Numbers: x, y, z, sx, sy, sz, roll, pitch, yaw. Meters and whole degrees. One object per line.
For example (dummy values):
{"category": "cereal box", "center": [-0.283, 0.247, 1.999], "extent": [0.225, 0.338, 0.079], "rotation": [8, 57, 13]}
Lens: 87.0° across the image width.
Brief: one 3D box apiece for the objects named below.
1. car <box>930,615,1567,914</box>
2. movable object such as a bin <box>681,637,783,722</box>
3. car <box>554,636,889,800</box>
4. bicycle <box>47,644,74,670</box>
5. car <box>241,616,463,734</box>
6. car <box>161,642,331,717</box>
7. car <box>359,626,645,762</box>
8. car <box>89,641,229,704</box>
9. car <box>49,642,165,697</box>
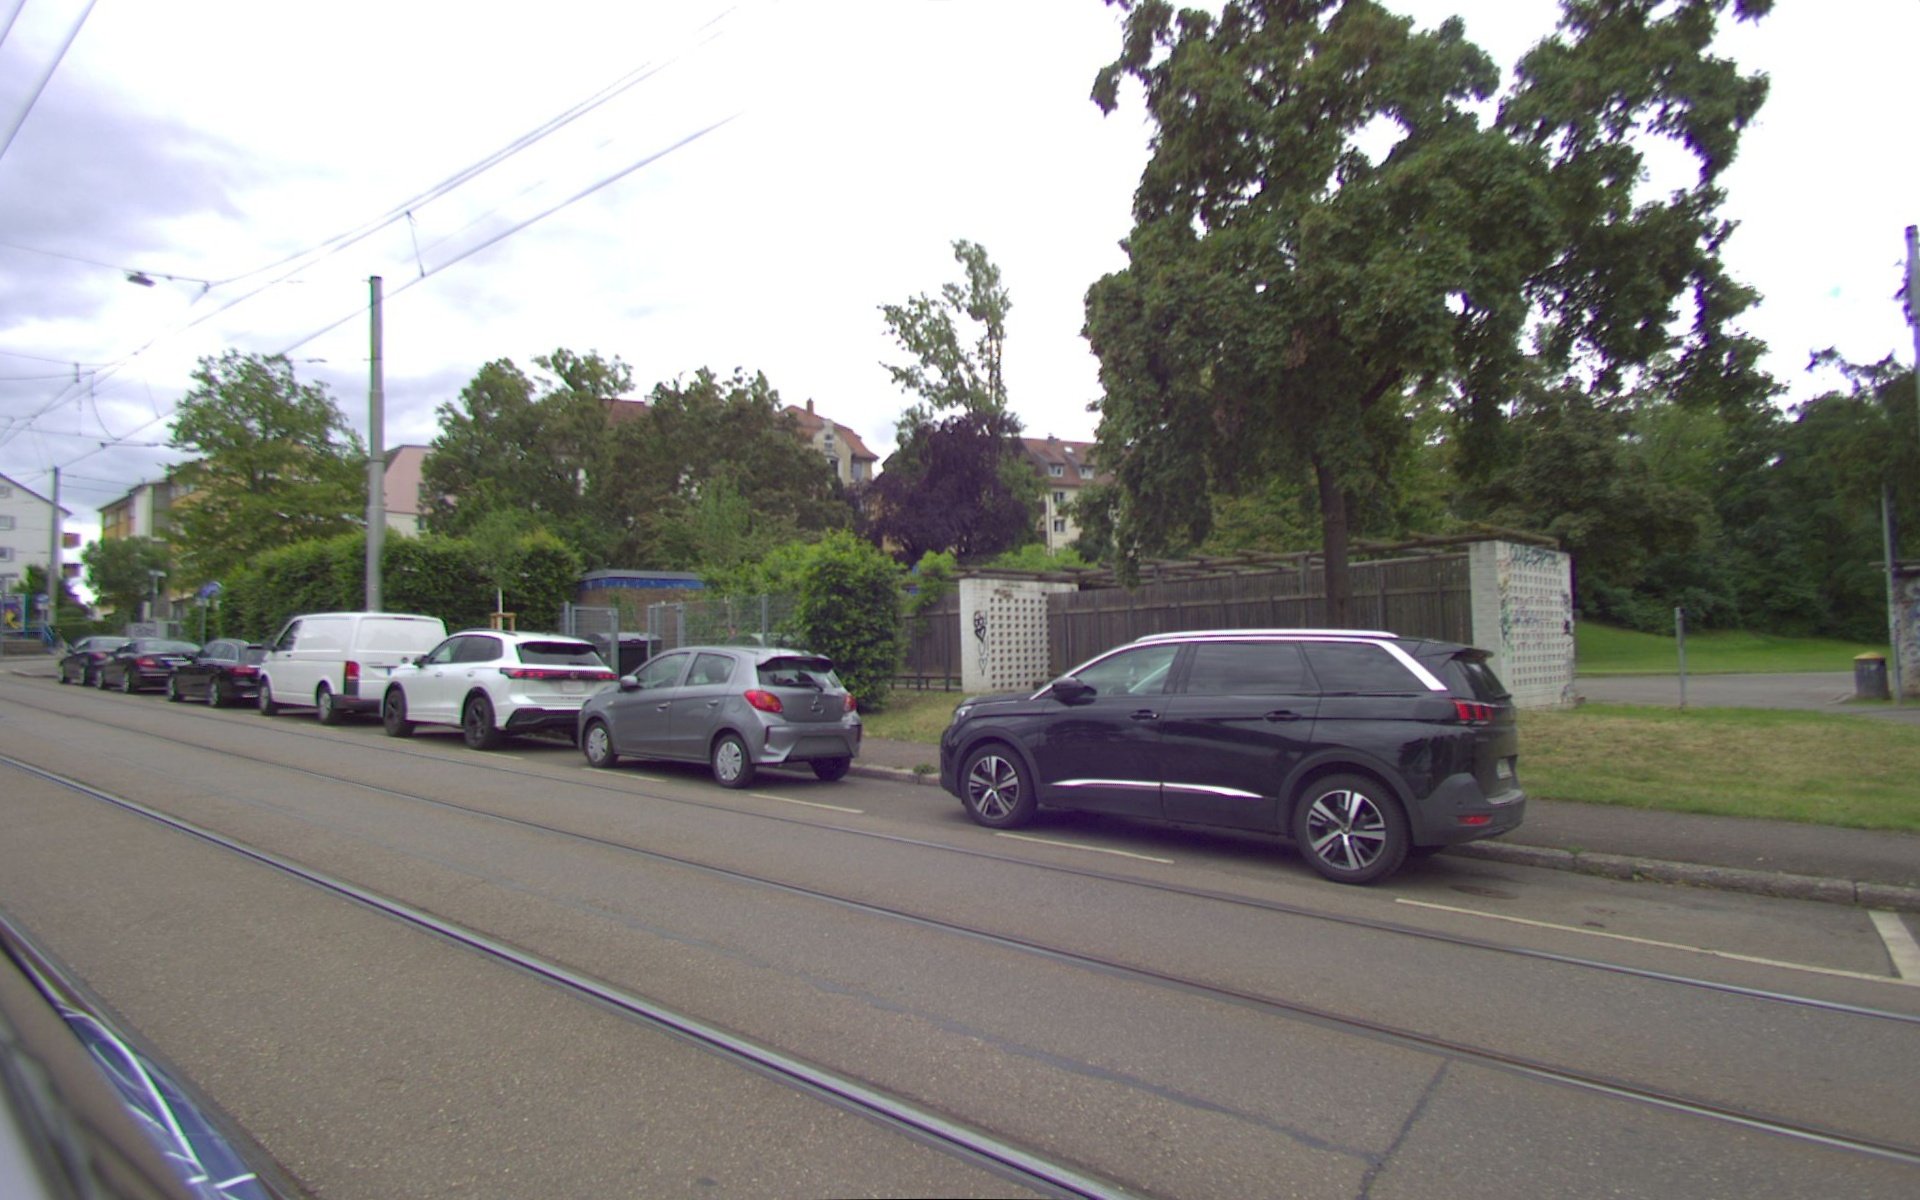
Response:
{"category": "car", "center": [2.097, 1.002, 7.987], "extent": [4.438, 1.699, 1.950], "rotation": [0, -2, 38]}
{"category": "movable object such as a bin", "center": [-4.024, 1.370, 17.882], "extent": [1.202, 1.383, 1.263], "rotation": [-2, -1, 40]}
{"category": "car", "center": [-2.837, 1.219, 11.708], "extent": [3.864, 1.520, 1.722], "rotation": [0, -2, 38]}
{"category": "bicycle", "center": [-42.703, 2.696, 48.037], "extent": [1.487, 1.190, 0.704], "rotation": [-1, -2, 39]}
{"category": "car", "center": [-11.399, 1.292, 18.855], "extent": [4.728, 1.927, 1.950], "rotation": [0, -2, 38]}
{"category": "car", "center": [-15.866, 1.686, 22.401], "extent": [4.511, 1.398, 1.822], "rotation": [0, -2, 38]}
{"category": "car", "center": [-6.942, 1.276, 15.159], "extent": [4.626, 1.699, 1.950], "rotation": [0, -2, 38]}
{"category": "car", "center": [-20.849, 1.821, 26.284], "extent": [4.434, 1.398, 1.822], "rotation": [0, -2, 38]}
{"category": "car", "center": [-25.235, 2.001, 29.910], "extent": [4.155, 1.415, 1.773], "rotation": [0, -2, 38]}
